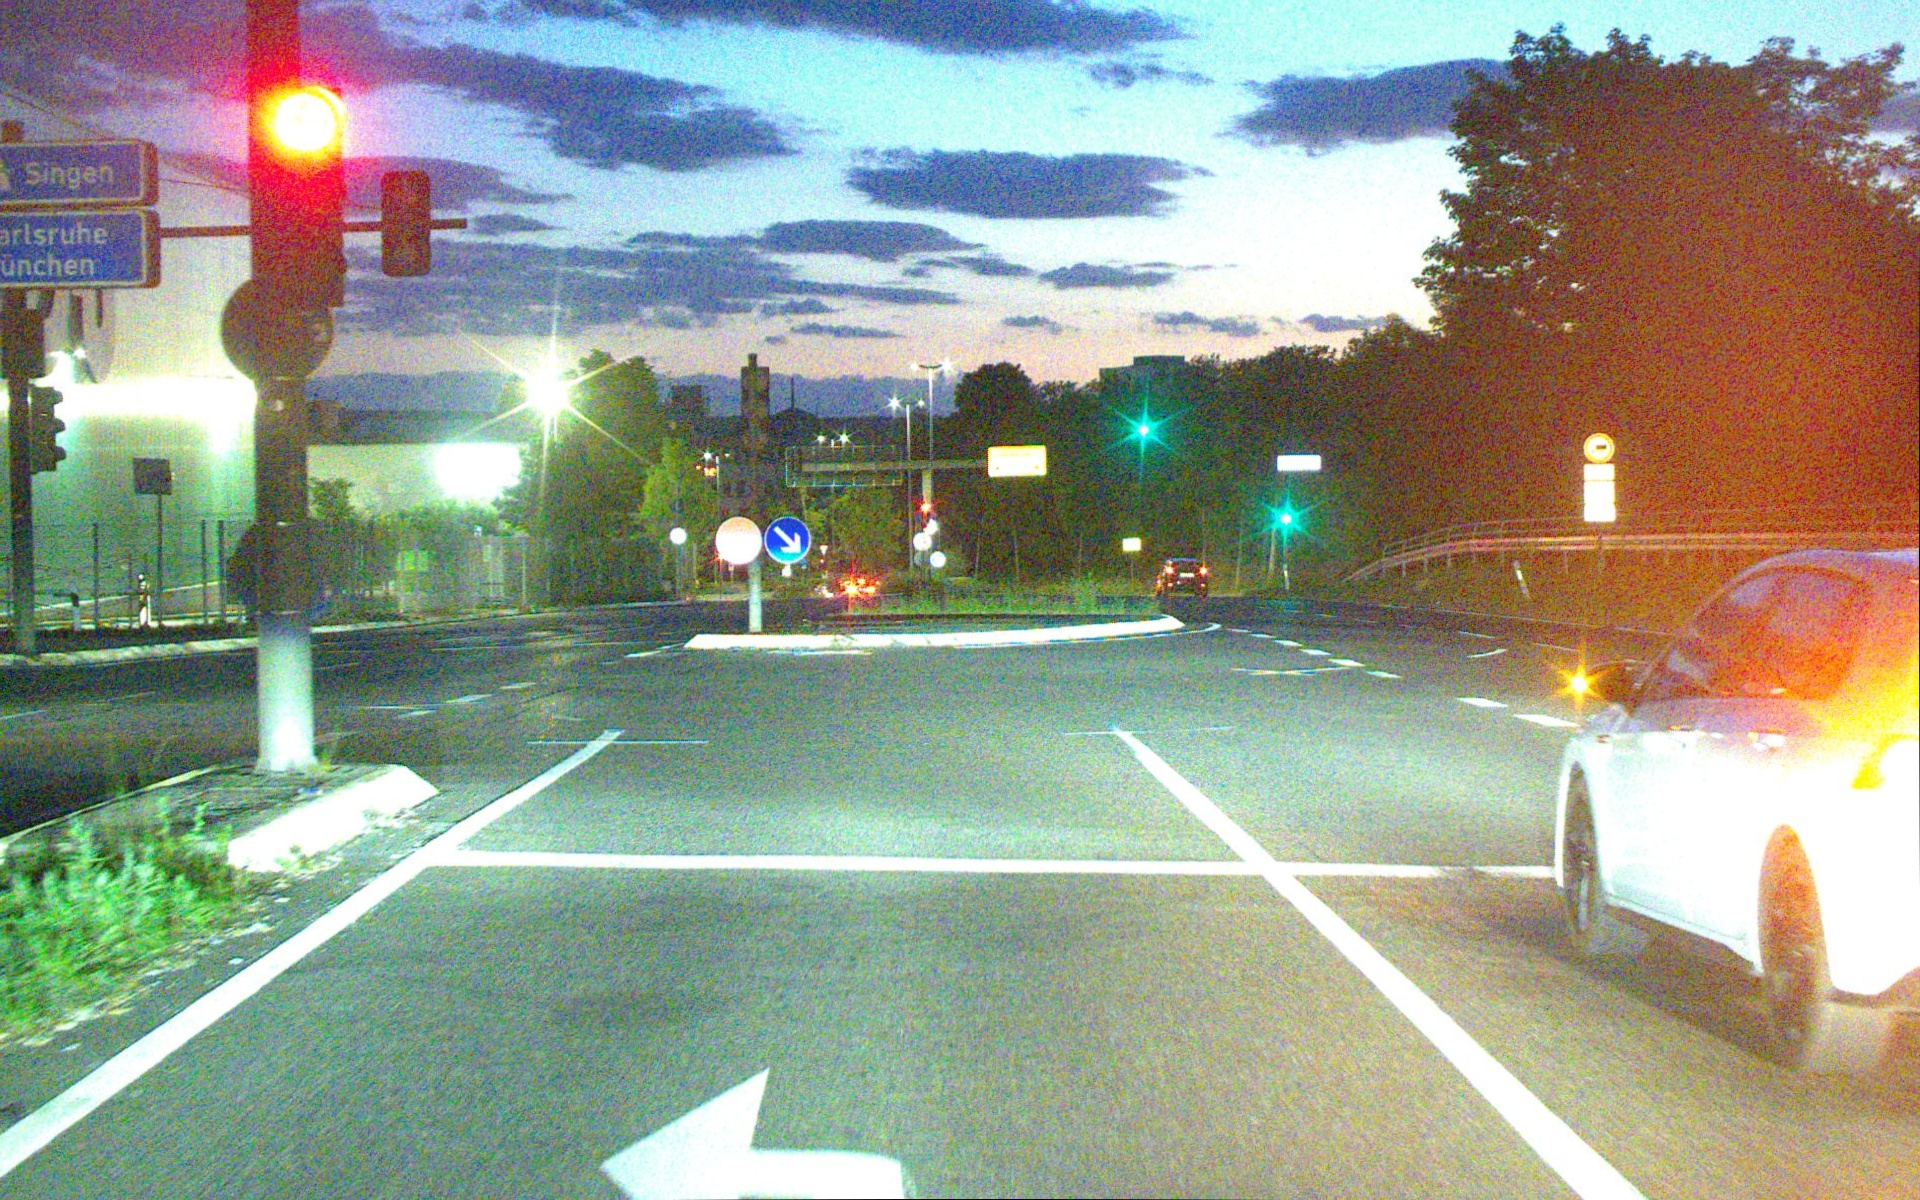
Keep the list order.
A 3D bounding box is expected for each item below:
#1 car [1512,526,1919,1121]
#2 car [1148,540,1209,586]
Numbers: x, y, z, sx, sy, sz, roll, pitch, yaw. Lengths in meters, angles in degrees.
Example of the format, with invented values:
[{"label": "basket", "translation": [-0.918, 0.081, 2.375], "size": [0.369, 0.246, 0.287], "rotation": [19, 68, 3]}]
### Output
[{"label": "car", "translation": [3.009, 0.518, 10.682], "size": [1.758, 1.454, 4.193], "rotation": [0, 2, -2]}, {"label": "car", "translation": [8.186, -1.401, 129.255], "size": [1.935, 1.640, 4.001], "rotation": [-1, 2, -1]}]
